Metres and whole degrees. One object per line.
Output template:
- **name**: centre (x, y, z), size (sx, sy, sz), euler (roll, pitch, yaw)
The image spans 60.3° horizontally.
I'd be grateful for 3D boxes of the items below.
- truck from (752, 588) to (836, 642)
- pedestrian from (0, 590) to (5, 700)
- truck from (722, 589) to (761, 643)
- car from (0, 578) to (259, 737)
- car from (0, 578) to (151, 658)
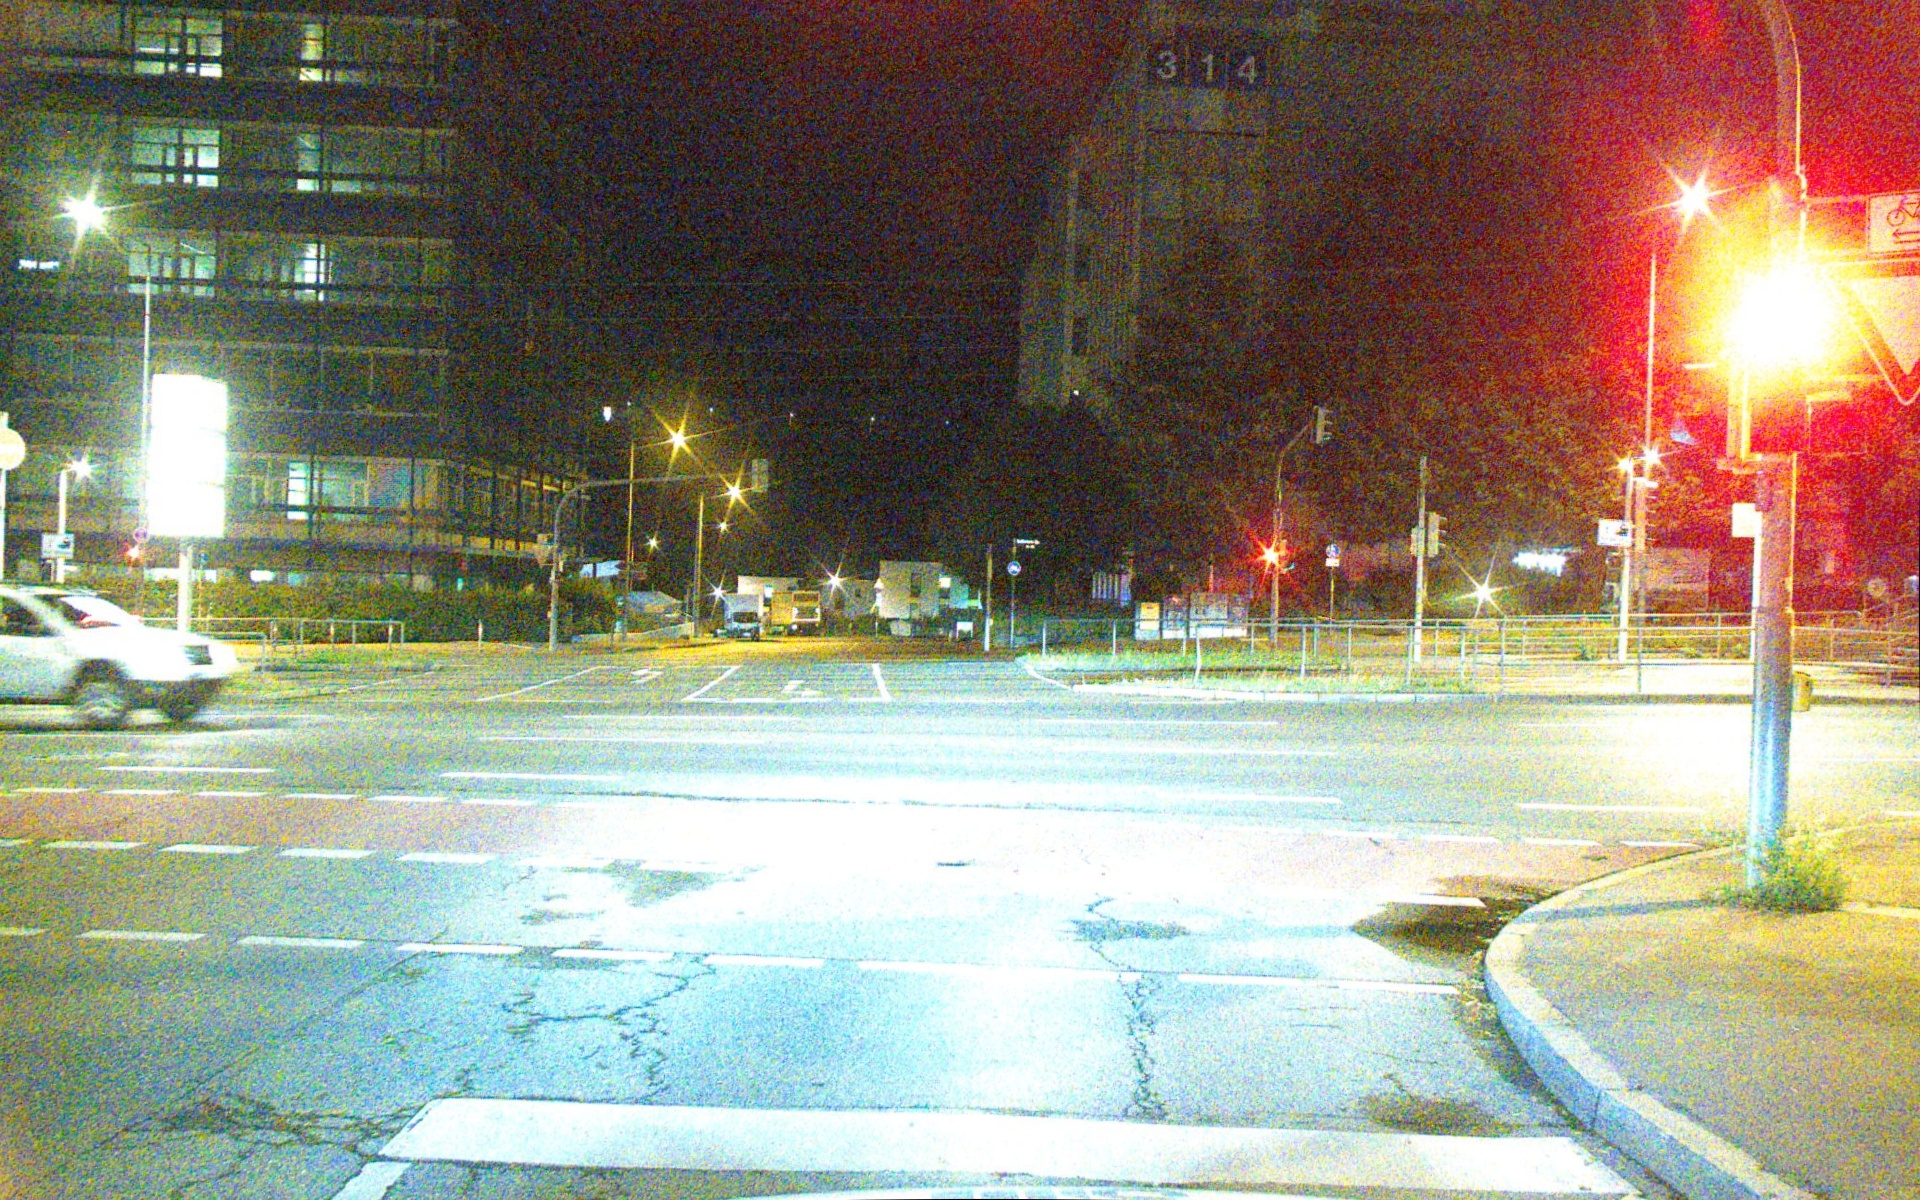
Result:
- **truck**: centre (-15.286, 1.297, 150.981), size (4.751, 4.627, 12.593), euler (1, 0, -19)
- **pedestrian**: centre (-14.825, 0.668, 24.677), size (0.656, 1.663, 0.862), euler (1, -1, -5)
- **truck**: centre (-15.752, 1.131, 118.885), size (2.535, 3.772, 5.724), euler (1, 0, -9)
- **car**: centre (-10.582, 0.618, 19.038), size (4.193, 1.712, 1.876), euler (0, 1, 3)
- **car**: centre (-21.515, 0.386, 38.334), size (4.521, 1.759, 2.001), euler (1, 0, 3)
